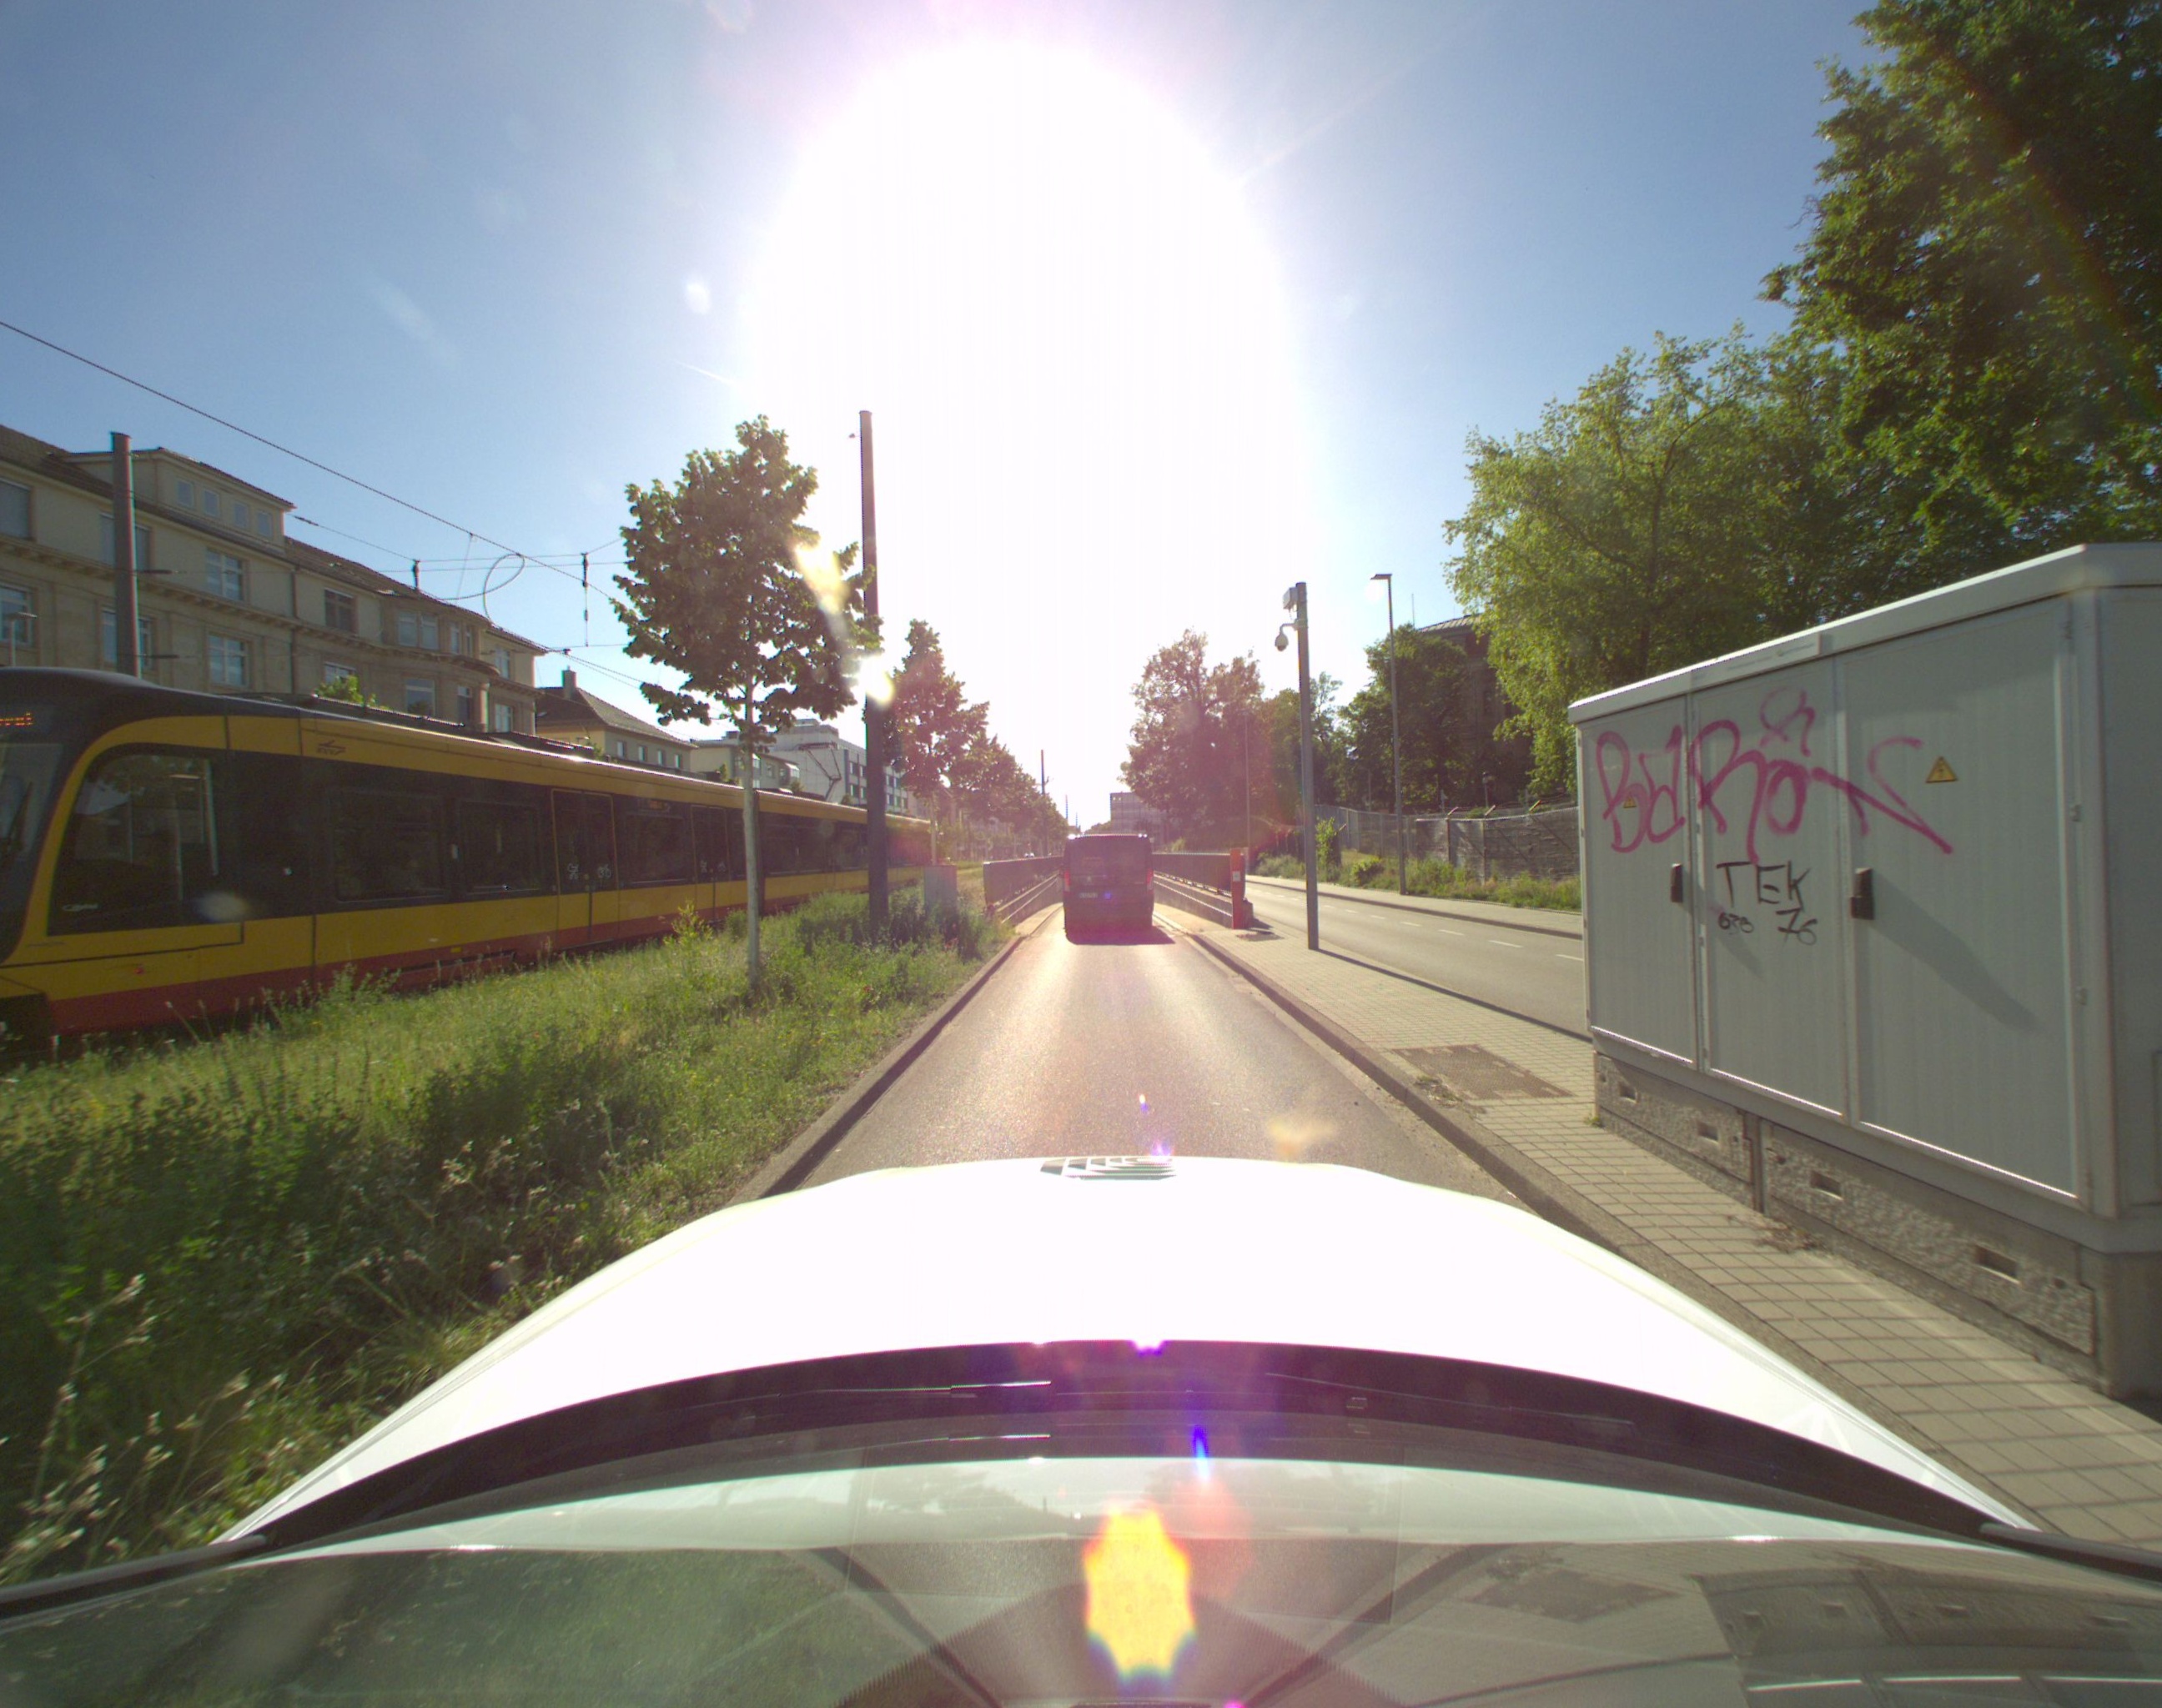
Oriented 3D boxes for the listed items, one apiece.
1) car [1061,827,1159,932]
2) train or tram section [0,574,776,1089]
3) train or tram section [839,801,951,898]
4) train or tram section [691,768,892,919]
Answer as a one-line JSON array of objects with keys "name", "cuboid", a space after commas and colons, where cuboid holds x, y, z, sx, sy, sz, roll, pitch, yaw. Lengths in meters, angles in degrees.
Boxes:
[{"name": "car", "cuboid": [0.666, 0.546, 19.659, 2.075, 2.249, 4.001, -1, 0, 1]}, {"name": "train or tram section", "cuboid": [-8.593, -0.153, 12.863, 1.986, 3.669, 14.153, -1, 0, 1]}, {"name": "train or tram section", "cuboid": [-8.042, -0.172, 37.017, 1.986, 3.669, 11.688, -1, 0, 2]}, {"name": "train or tram section", "cuboid": [-8.374, -0.258, 25.549, 1.986, 3.669, 11.319, -1, 0, 1]}]
